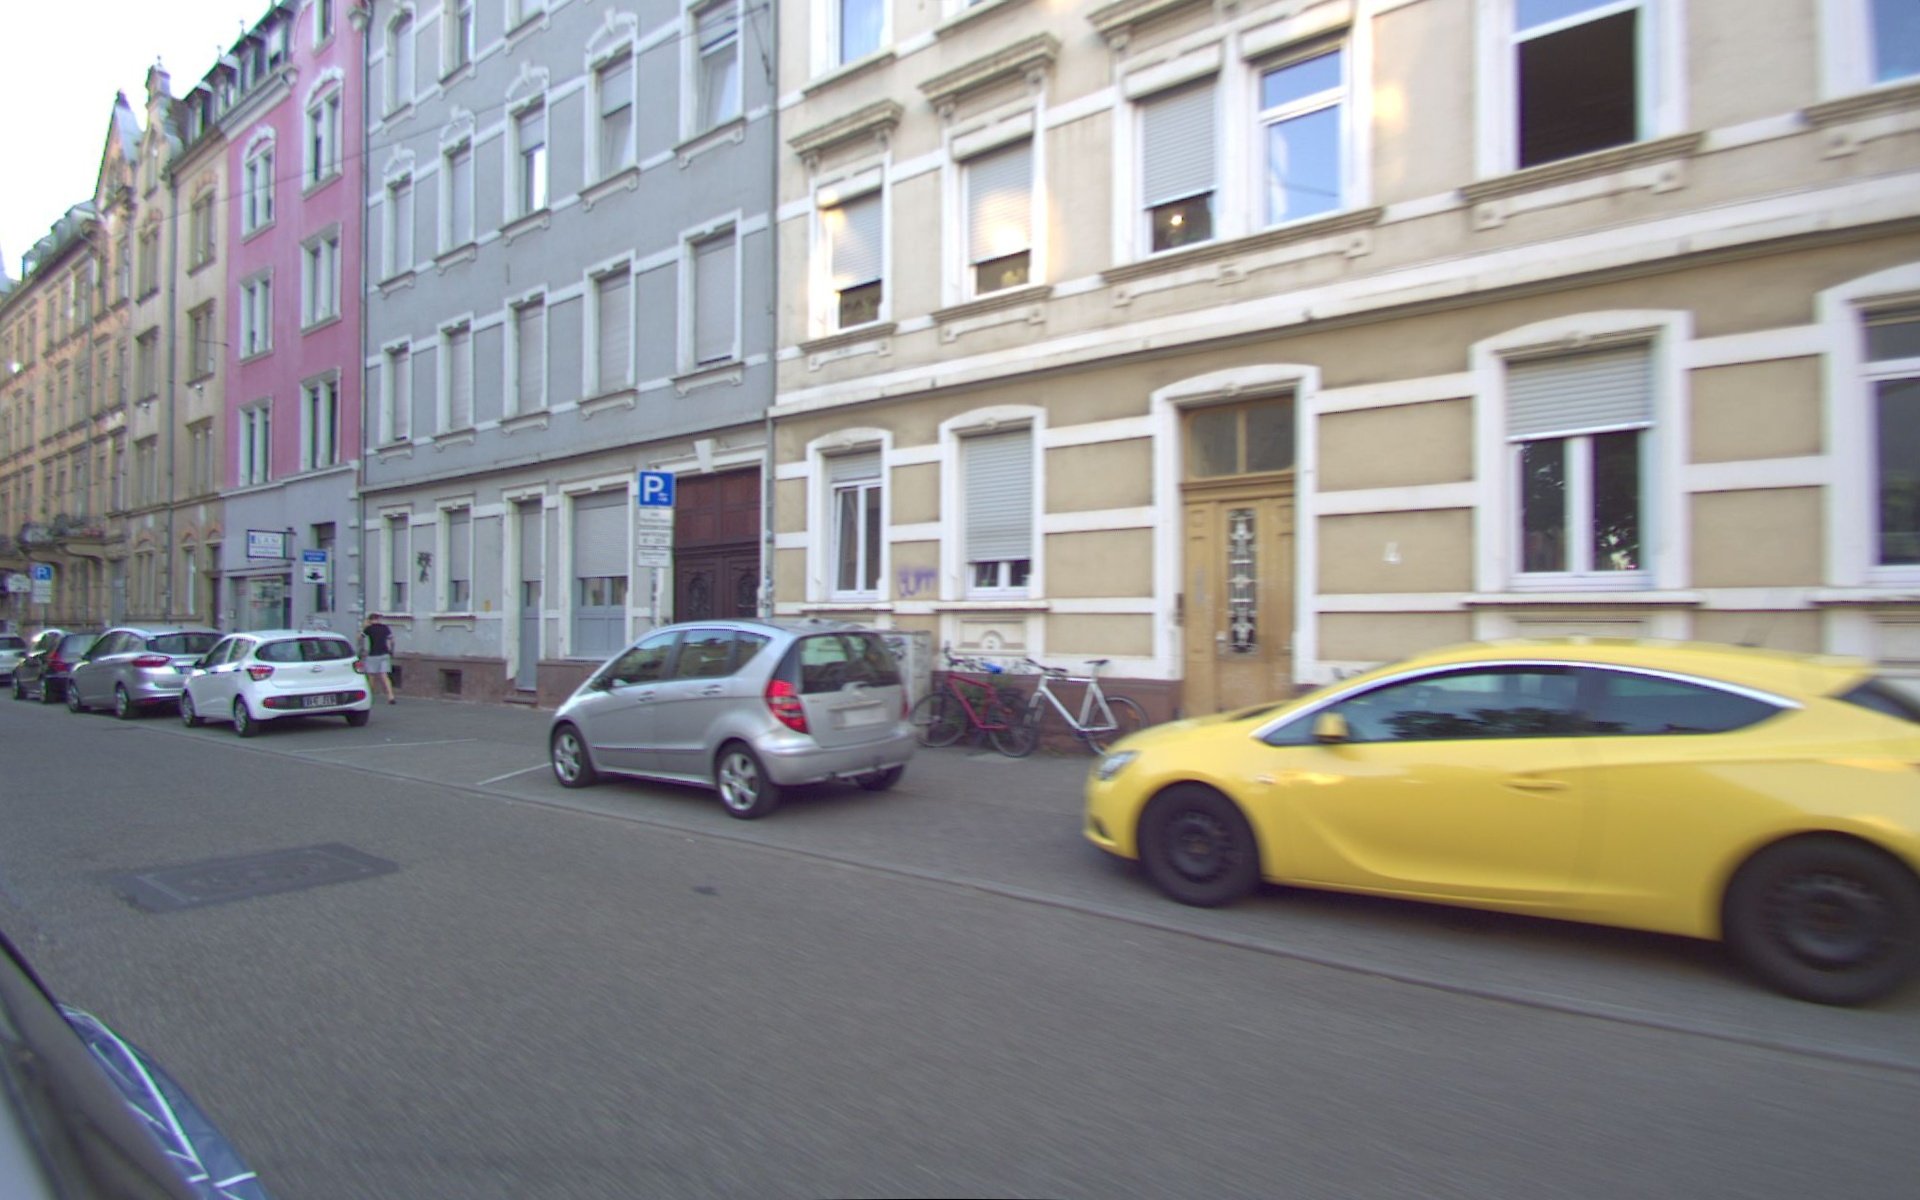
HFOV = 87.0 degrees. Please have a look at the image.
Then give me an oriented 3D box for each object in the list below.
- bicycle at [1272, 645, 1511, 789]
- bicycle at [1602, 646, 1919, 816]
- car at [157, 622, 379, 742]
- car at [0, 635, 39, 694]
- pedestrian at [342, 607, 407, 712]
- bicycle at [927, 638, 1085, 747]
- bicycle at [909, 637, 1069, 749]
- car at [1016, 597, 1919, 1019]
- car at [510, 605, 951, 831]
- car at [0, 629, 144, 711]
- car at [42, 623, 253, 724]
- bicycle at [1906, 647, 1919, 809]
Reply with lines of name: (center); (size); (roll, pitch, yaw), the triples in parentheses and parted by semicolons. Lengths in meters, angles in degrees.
bicycle: (3.747, 0.973, 8.911); (1.861, 1.149, 0.475); (-2, -3, 39)
bicycle: (5.715, 0.876, 7.259); (1.830, 1.078, 0.656); (-2, -2, 36)
car: (-10.861, 1.193, 15.800); (3.922, 1.588, 1.736); (-2, 0, 38)
car: (-27.421, 1.827, 28.314); (4.052, 1.486, 1.737); (-2, 3, 39)
pedestrian: (-11.298, 1.124, 19.525); (0.833, 1.964, 0.840); (-2, -3, 41)
bicycle: (0.490, 1.011, 11.460); (1.861, 1.149, 0.475); (-2, -3, 39)
bicycle: (0.284, 0.990, 11.193); (1.861, 1.149, 0.475); (-2, -3, 39)
car: (2.821, 0.815, 5.405); (4.791, 1.537, 1.823); (-2, 0, 35)
car: (-2.259, 0.910, 9.364); (4.140, 1.605, 1.782); (-2, 0, 39)
car: (-19.937, 1.498, 22.627); (4.051, 1.605, 1.737); (-2, 0, 38)
car: (-15.103, 1.287, 18.732); (4.662, 1.605, 1.817); (-2, 0, 35)
bicycle: (7.142, 0.839, 6.223); (1.830, 1.078, 0.656); (-2, -2, 36)
